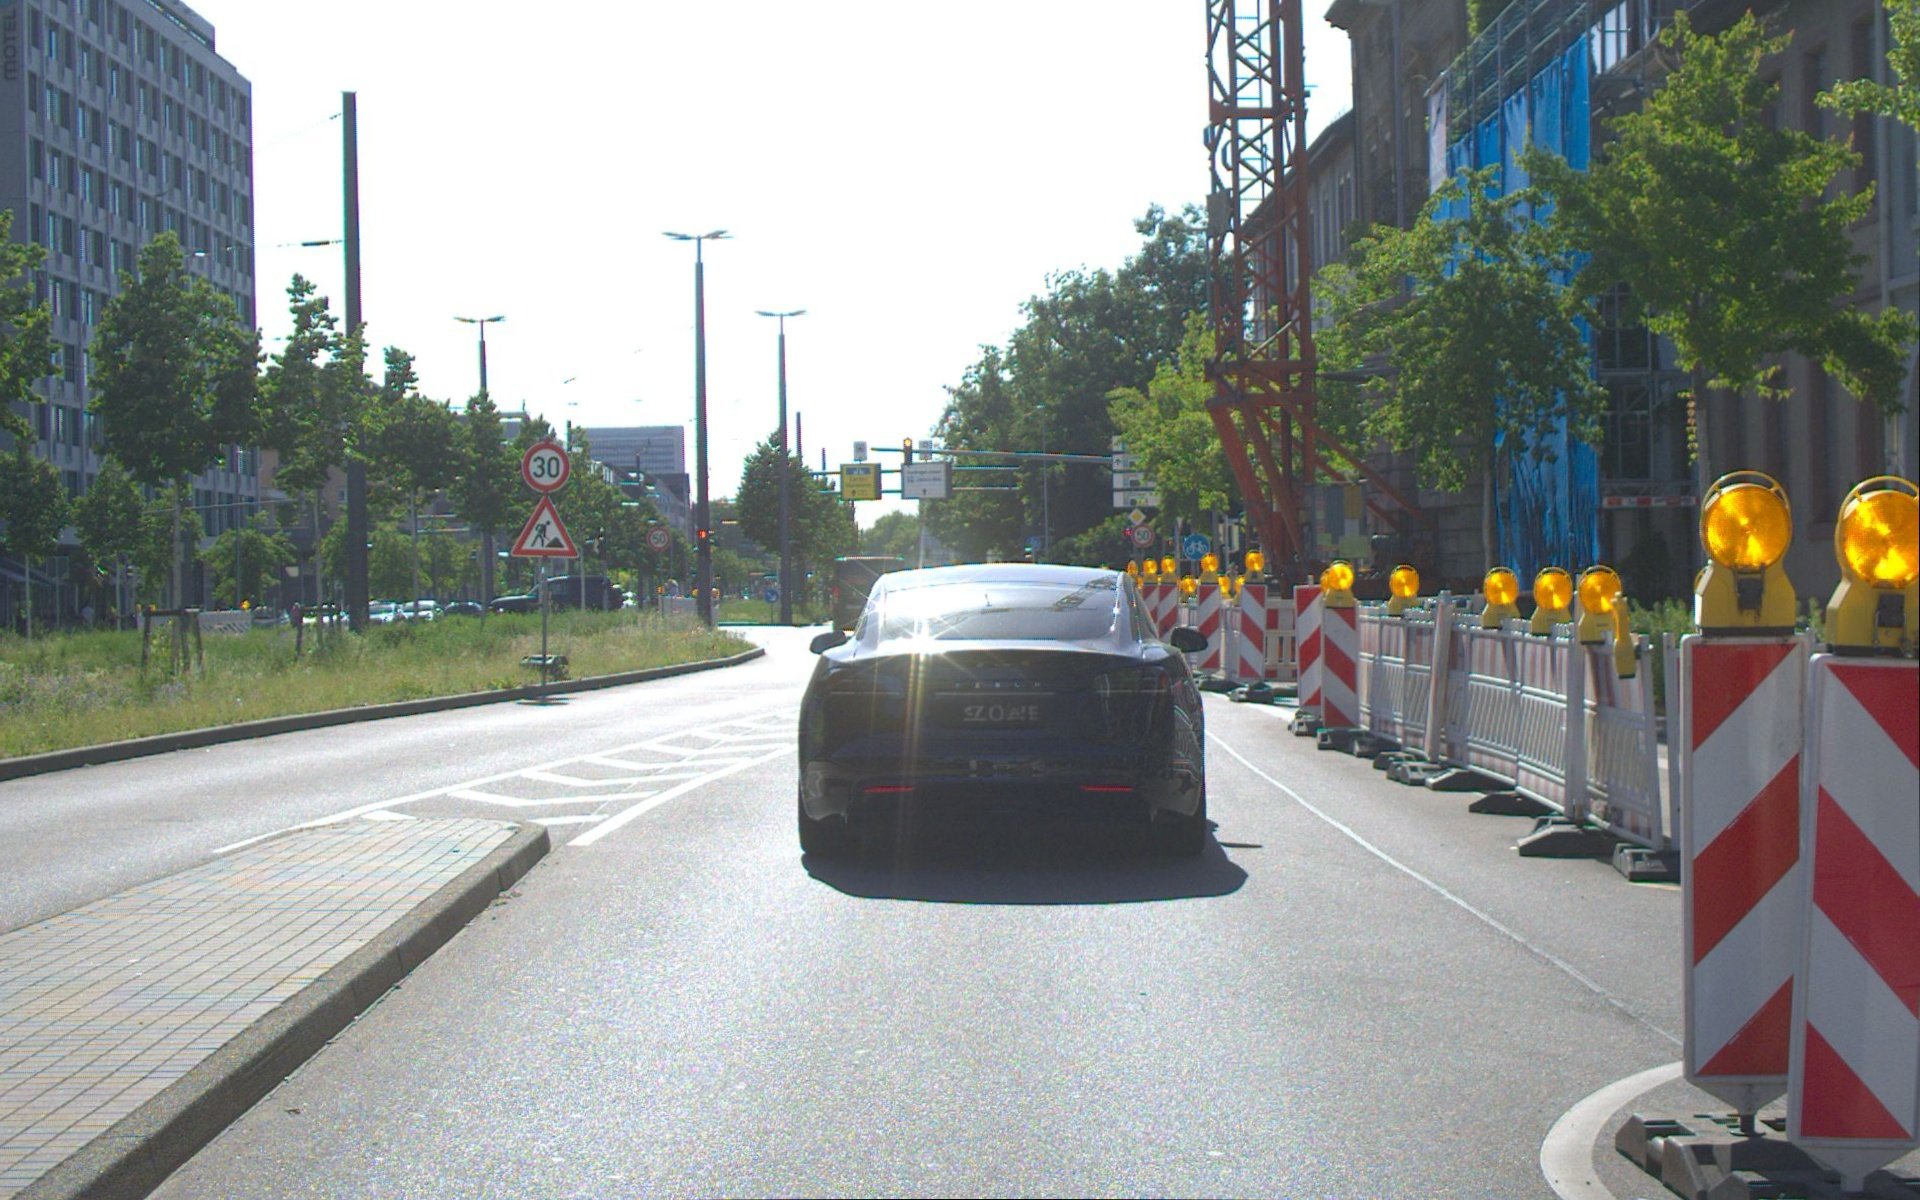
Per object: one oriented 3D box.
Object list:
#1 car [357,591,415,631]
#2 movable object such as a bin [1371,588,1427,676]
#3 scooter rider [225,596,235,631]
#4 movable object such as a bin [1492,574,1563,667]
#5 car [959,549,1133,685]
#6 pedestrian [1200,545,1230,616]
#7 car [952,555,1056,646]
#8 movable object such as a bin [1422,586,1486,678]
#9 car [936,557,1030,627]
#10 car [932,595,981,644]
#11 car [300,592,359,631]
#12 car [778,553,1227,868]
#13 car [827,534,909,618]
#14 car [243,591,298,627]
[{"bbox_3d":[-24.519,0.448,147.040,1.790,1.645,4.000,-1,0,0],"label":"car"},{"bbox_3d":[5.314,0.383,41.622,0.587,1.054,0.730,0,1,0],"label":"movable object such as a bin"},{"bbox_3d":[-30.048,0.544,141.469,0.342,1.448,0.239,-1,0,0],"label":"scooter rider"},{"bbox_3d":[6.866,0.242,41.621,0.587,1.054,0.783,-6,1,-5],"label":"movable object such as a bin"},{"bbox_3d":[0.907,0.157,38.628,1.747,1.422,4.838,0,0,-1],"label":"car"},{"bbox_3d":[7.093,-0.544,95.738,0.658,1.906,0.587,-4,0,-1],"label":"pedestrian"},{"bbox_3d":[0.738,-0.005,59.404,1.749,1.522,4.005,0,0,0],"label":"car"},{"bbox_3d":[6.007,0.385,41.820,0.595,1.054,0.730,-5,0,0],"label":"movable object such as a bin"},{"bbox_3d":[0.450,-0.152,71.962,1.791,1.423,3.850,0,0,-2],"label":"car"},{"bbox_3d":[-0.147,0.751,133.452,1.791,1.867,3.850,0,0,-2],"label":"car"},{"bbox_3d":[-27.359,0.479,149.250,1.790,1.645,4.000,-1,0,0],"label":"car"},{"bbox_3d":[0.162,0.489,18.036,2.051,1.439,4.524,0,0,-1],"label":"car"},{"bbox_3d":[-2.547,-0.673,95.109,2.218,2.259,4.484,0,1,-2],"label":"car"},{"bbox_3d":[-32.731,0.401,163.221,1.790,1.645,4.000,-1,0,0],"label":"car"}]
